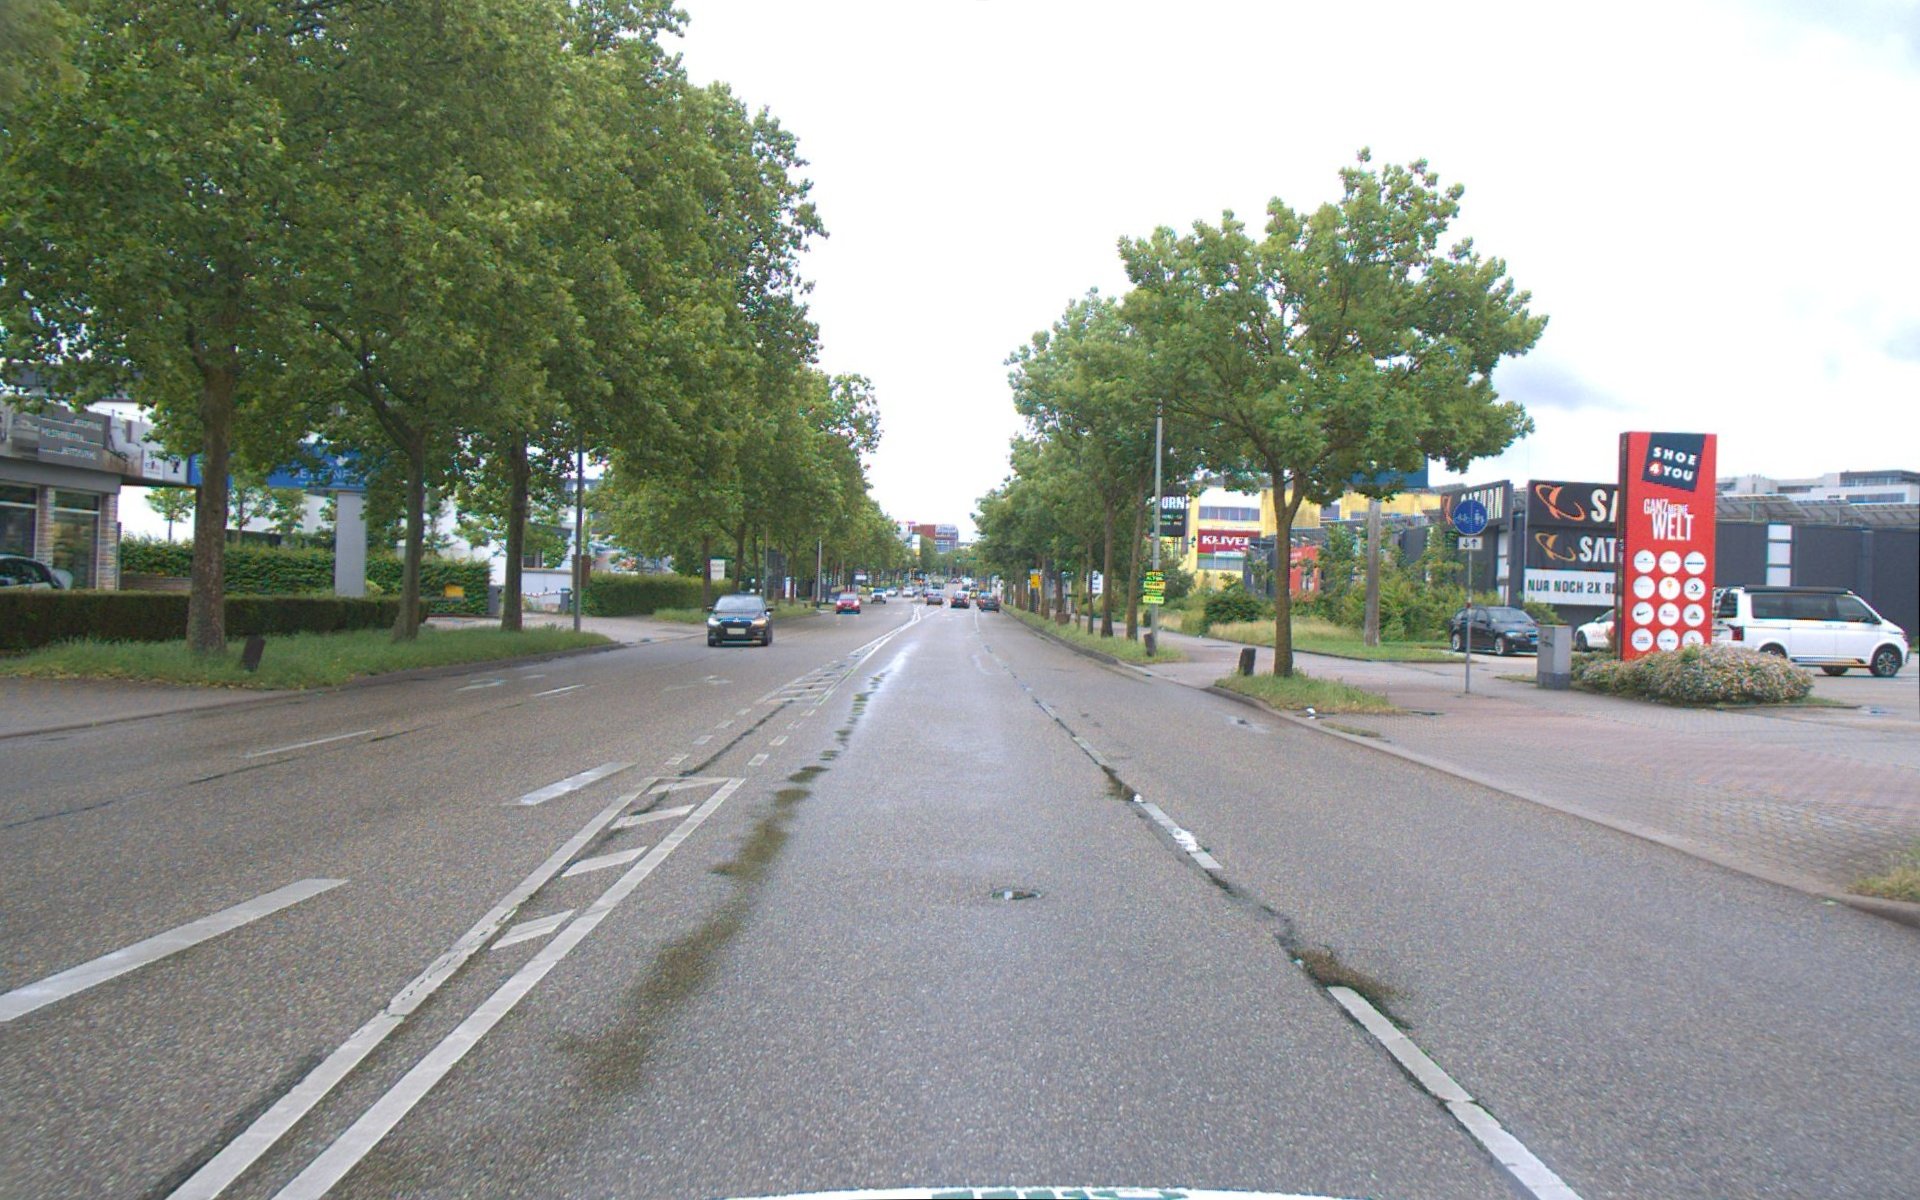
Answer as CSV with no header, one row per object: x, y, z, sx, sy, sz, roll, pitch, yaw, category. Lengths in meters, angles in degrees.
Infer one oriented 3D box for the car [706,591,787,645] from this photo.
-6.052,0.485,47.301,1.767,1.488,3.846,0,0,1,car

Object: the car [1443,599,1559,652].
16.286,0.734,49.997,1.549,1.453,4.257,1,1,-9,car

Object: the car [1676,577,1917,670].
19.271,0.545,38.173,4.732,2.049,1.986,1,-1,-10,car

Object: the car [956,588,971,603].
0.405,-0.526,193.994,1.709,1.767,4.001,1,0,1,car

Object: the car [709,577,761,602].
-18.086,-0.836,132.943,3.905,1.958,1.826,1,-1,0,car

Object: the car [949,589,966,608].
-0.229,-0.177,180.586,1.709,2.049,4.001,1,0,1,car

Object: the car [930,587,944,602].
-3.023,-0.774,217.928,1.852,1.909,4.123,1,0,0,car

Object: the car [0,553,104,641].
-17.307,-0.065,29.760,1.786,1.512,3.939,1,0,-1,car

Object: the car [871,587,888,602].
-9.822,-0.670,202.013,1.669,1.767,4.001,1,0,2,car

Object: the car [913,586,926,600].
-5.988,-1.092,245.169,1.790,2.049,3.998,1,0,-2,car

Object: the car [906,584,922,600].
-6.014,-0.997,216.298,1.953,2.049,3.999,1,0,-1,car

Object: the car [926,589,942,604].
-3.190,-0.447,203.229,1.709,1.730,4.001,1,0,1,car

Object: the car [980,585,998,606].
2.895,-0.432,162.446,1.709,2.049,4.001,1,0,1,car

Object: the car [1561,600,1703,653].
21.069,0.799,52.096,1.846,1.494,4.942,1,1,-9,car

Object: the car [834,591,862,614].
-7.976,0.164,118.171,1.690,1.544,3.821,1,0,0,car
